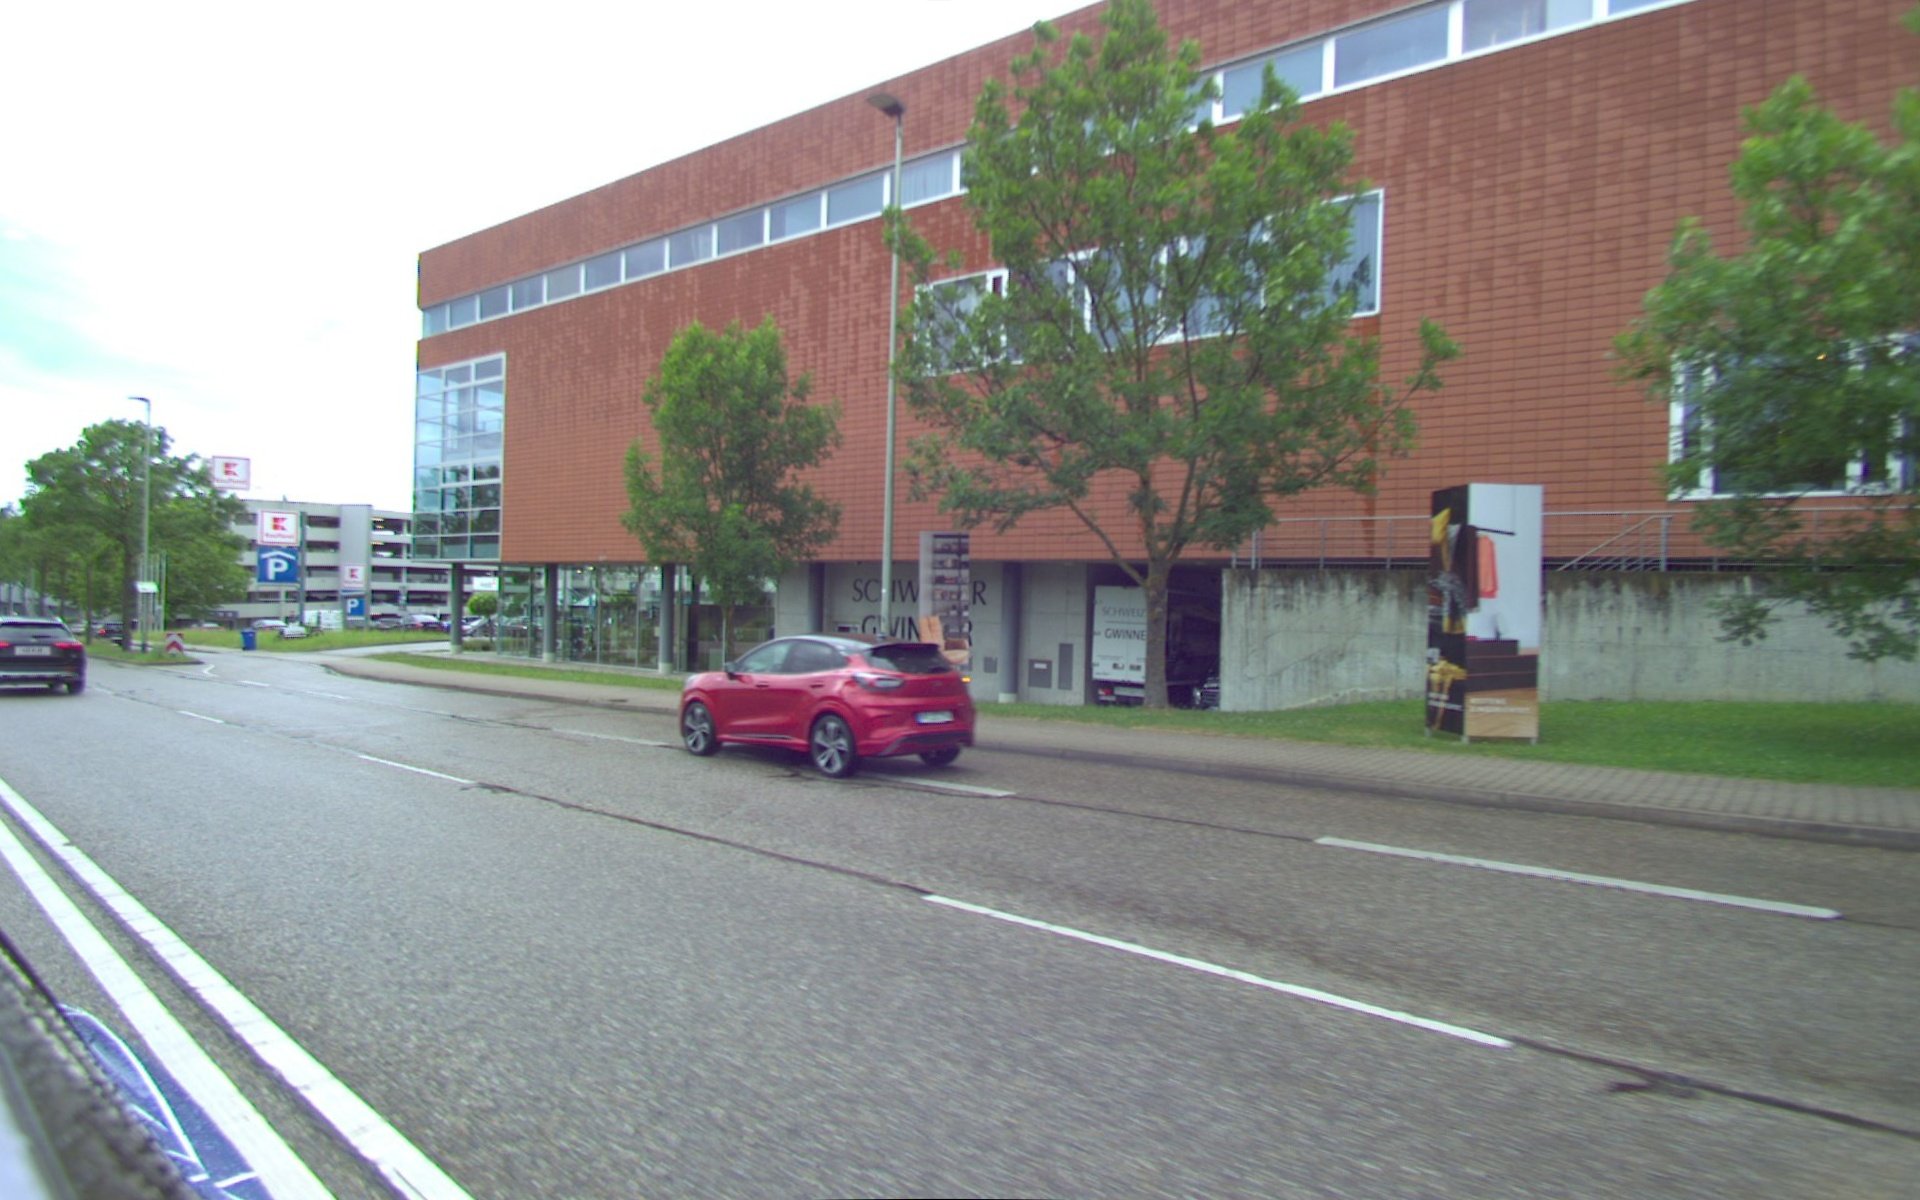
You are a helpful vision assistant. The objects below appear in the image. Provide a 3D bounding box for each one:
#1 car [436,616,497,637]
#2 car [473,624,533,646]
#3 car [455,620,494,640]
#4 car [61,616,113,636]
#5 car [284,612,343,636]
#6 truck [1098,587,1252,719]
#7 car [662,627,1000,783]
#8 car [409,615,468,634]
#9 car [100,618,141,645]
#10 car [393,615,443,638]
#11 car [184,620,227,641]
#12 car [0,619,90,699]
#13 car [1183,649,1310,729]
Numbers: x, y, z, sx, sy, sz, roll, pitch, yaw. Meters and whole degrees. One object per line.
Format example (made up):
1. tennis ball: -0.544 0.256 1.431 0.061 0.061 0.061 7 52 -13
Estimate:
1. car: -39.907 2.112 81.882 1.833 1.630 4.008 -1 -2 41
2. car: -34.985 2.655 77.598 1.677 1.611 3.955 -1 -2 33
3. car: -35.242 2.184 73.427 3.498 1.433 1.419 -1 -2 44
4. car: -84.094 2.505 97.565 1.822 1.864 4.006 0 -2 -7
5. car: -44.386 1.656 69.480 4.427 1.630 1.813 -1 -2 34
6. truck: 6.248 1.423 28.745 2.020 3.333 6.081 0 -2 35
7. car: -1.658 1.085 11.903 4.217 1.518 1.657 -1 -3 44
8. car: -43.852 2.056 85.086 1.833 1.630 4.008 -1 -2 41
9. car: -54.367 2.004 65.519 1.806 1.630 4.004 -1 0 -43
10. car: -31.991 1.534 59.678 3.449 1.293 1.490 0 0 41
11. car: -60.461 2.413 81.118 4.058 1.630 1.810 -1 -2 39
12. car: -20.330 1.221 21.761 4.318 1.589 1.839 -1 -3 41
13. car: 7.313 2.169 25.611 1.679 1.763 4.000 -1 -2 39
